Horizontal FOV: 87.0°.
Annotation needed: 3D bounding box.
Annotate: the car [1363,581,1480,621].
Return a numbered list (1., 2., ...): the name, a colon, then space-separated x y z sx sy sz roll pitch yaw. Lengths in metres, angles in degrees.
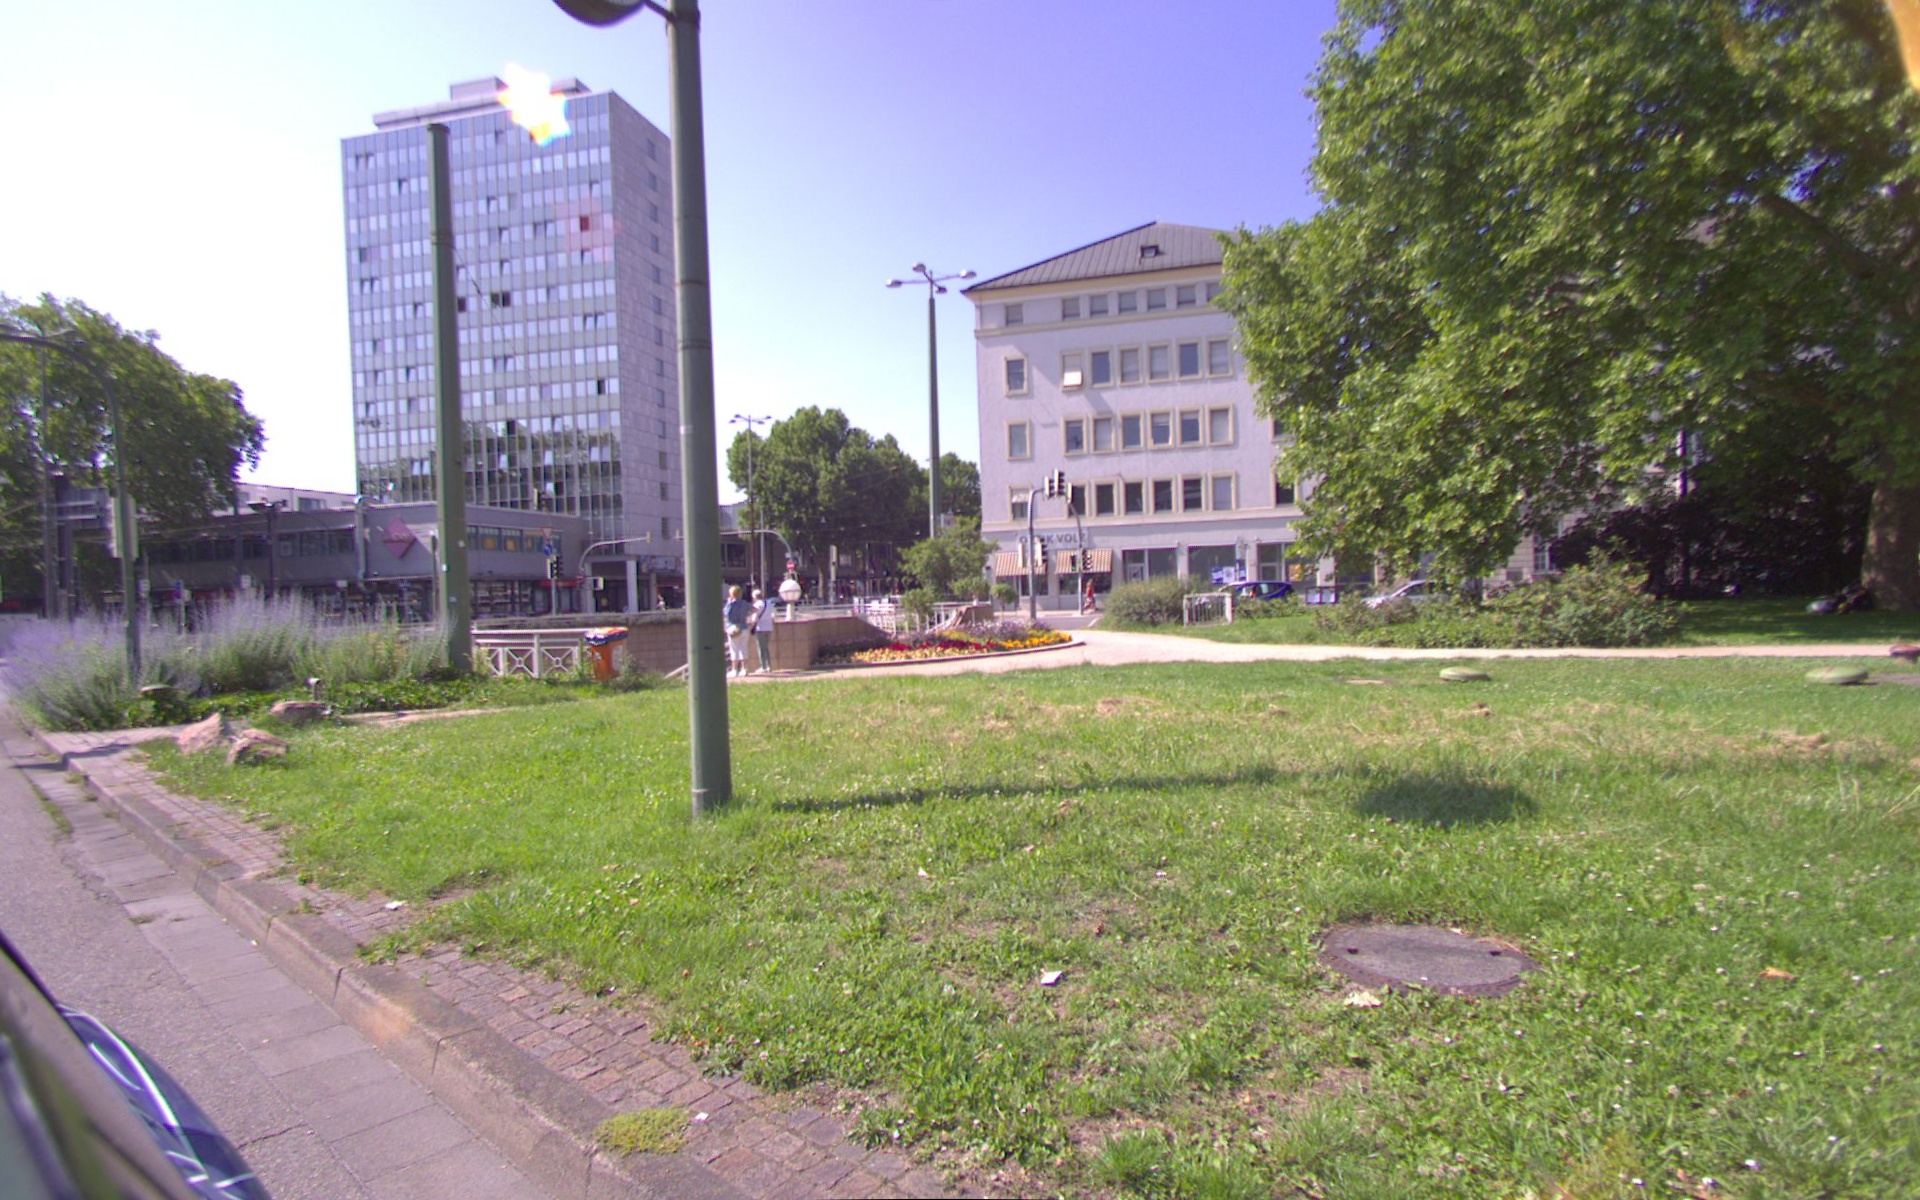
1. car: 16.661 0.031 36.660 3.550 1.278 1.605 -2 0 14

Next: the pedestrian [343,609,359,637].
1. pedestrian: -40.345 1.496 67.087 0.810 1.820 0.672 -1 0 -39

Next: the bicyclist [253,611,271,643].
1. bicyclist: -38.181 1.462 55.371 0.521 1.719 0.675 -1 0 41

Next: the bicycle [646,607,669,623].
1. bicycle: -25.429 1.253 85.048 0.714 1.309 1.920 0 1 30

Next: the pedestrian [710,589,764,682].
1. pedestrian: -3.949 0.616 17.940 0.597 1.605 0.686 -2 0 26

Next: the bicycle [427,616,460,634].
1. bicycle: -35.108 1.721 68.805 0.577 1.110 1.941 -2 0 43

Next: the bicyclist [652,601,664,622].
1. bicyclist: -25.408 0.969 85.086 0.694 1.781 0.677 0 1 31

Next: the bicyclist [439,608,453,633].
1. bicyclist: -35.004 1.404 68.927 0.584 1.700 0.674 -2 0 44

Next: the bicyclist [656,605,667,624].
1. bicyclist: -24.507 1.161 83.081 0.579 1.538 0.678 0 1 24

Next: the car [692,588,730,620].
1. car: -24.243 0.373 98.769 1.729 2.938 4.620 -2 0 11

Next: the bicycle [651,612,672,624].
1. bicycle: -24.487 1.492 83.101 0.589 0.889 1.796 0 1 24

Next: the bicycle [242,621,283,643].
1. bicycle: -38.158 1.737 55.387 0.521 1.175 1.792 -1 0 41

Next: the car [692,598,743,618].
1. car: -20.247 0.636 84.709 1.873 1.471 4.127 -2 0 27

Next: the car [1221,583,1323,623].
1. car: 11.736 0.118 38.258 3.550 1.356 1.605 -2 0 14

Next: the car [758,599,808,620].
1. car: -13.986 0.734 80.128 1.873 1.545 4.042 -2 0 27

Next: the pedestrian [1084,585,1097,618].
1. pedestrian: 7.089 0.074 55.022 0.635 1.772 0.592 -1 0 14

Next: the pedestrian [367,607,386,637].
1. pedestrian: -37.226 1.399 64.592 0.664 1.850 0.820 -1 0 12

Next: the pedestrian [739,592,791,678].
1. pedestrian: -3.585 0.636 18.630 0.472 1.521 0.844 -2 0 26

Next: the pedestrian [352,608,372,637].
1. pedestrian: -38.338 1.442 64.892 0.664 1.850 0.820 -1 0 13
